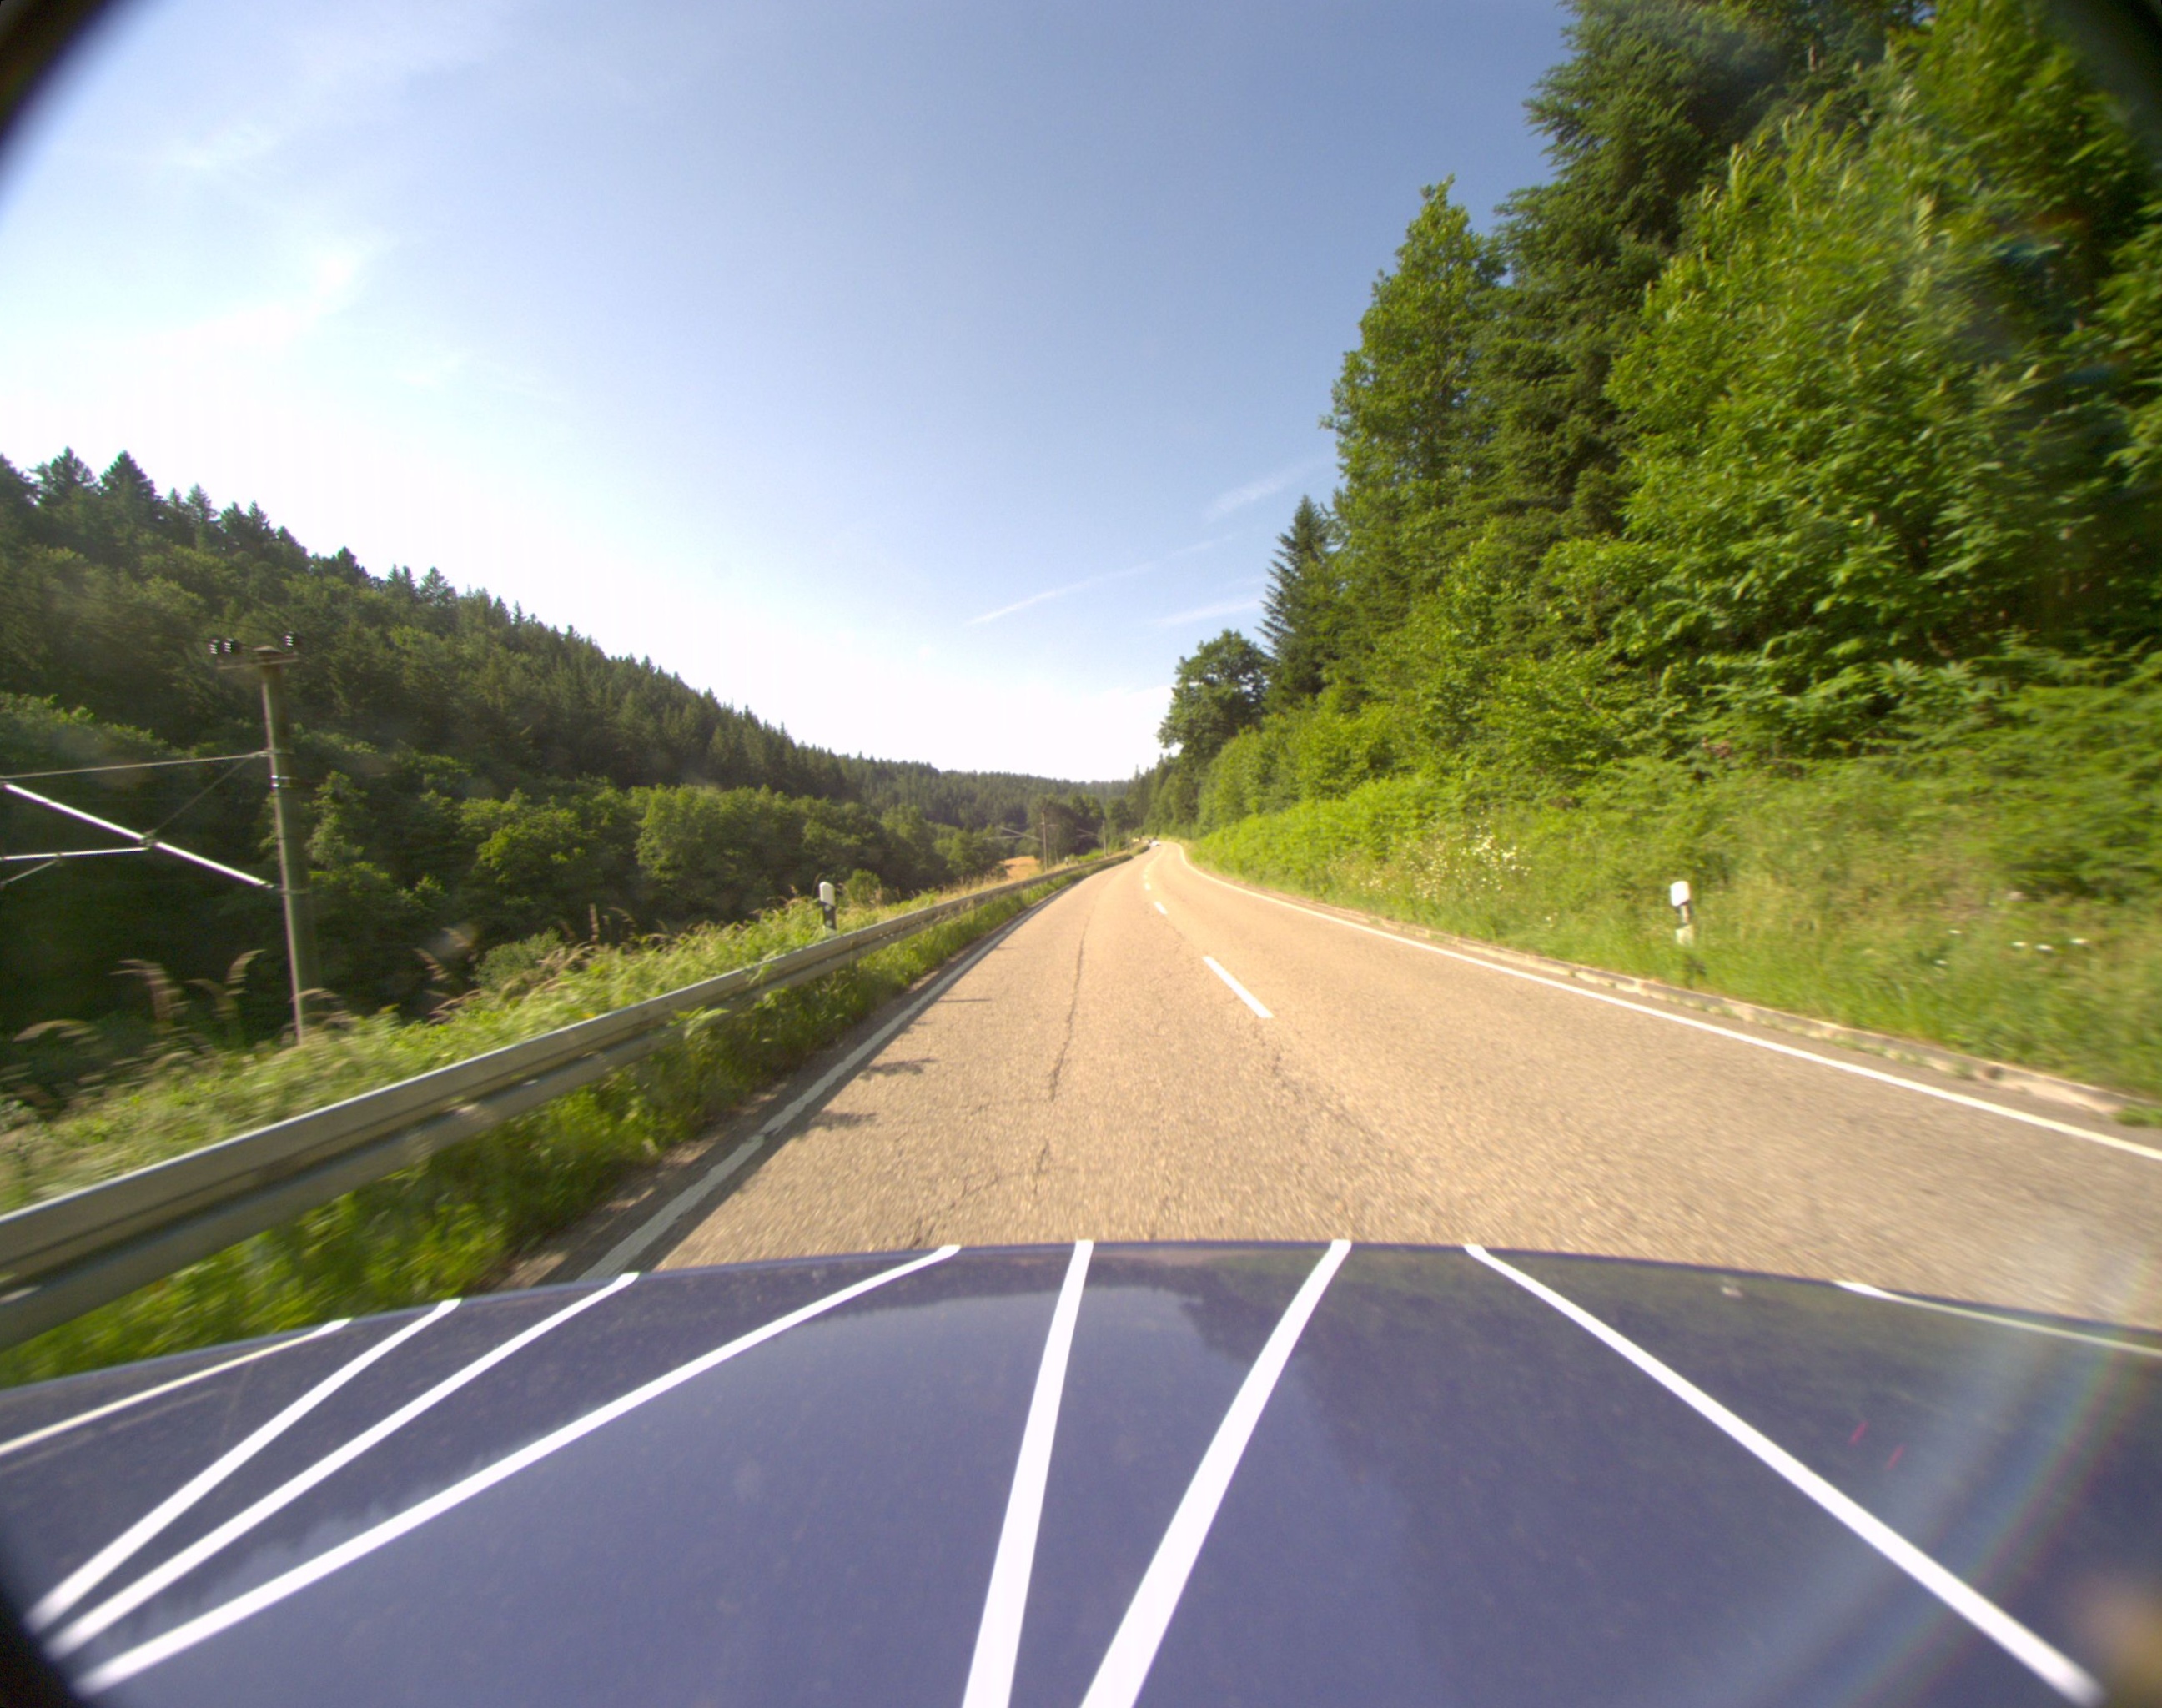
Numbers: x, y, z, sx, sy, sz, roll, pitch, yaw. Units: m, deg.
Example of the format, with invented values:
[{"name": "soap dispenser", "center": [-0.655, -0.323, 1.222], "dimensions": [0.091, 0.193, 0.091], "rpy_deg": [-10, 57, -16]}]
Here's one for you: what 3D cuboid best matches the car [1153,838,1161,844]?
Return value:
[{"name": "car", "center": [20.138, -3.481, 200.677], "dimensions": [1.703, 1.543, 3.787], "rpy_deg": [-4, 2, 0]}]
